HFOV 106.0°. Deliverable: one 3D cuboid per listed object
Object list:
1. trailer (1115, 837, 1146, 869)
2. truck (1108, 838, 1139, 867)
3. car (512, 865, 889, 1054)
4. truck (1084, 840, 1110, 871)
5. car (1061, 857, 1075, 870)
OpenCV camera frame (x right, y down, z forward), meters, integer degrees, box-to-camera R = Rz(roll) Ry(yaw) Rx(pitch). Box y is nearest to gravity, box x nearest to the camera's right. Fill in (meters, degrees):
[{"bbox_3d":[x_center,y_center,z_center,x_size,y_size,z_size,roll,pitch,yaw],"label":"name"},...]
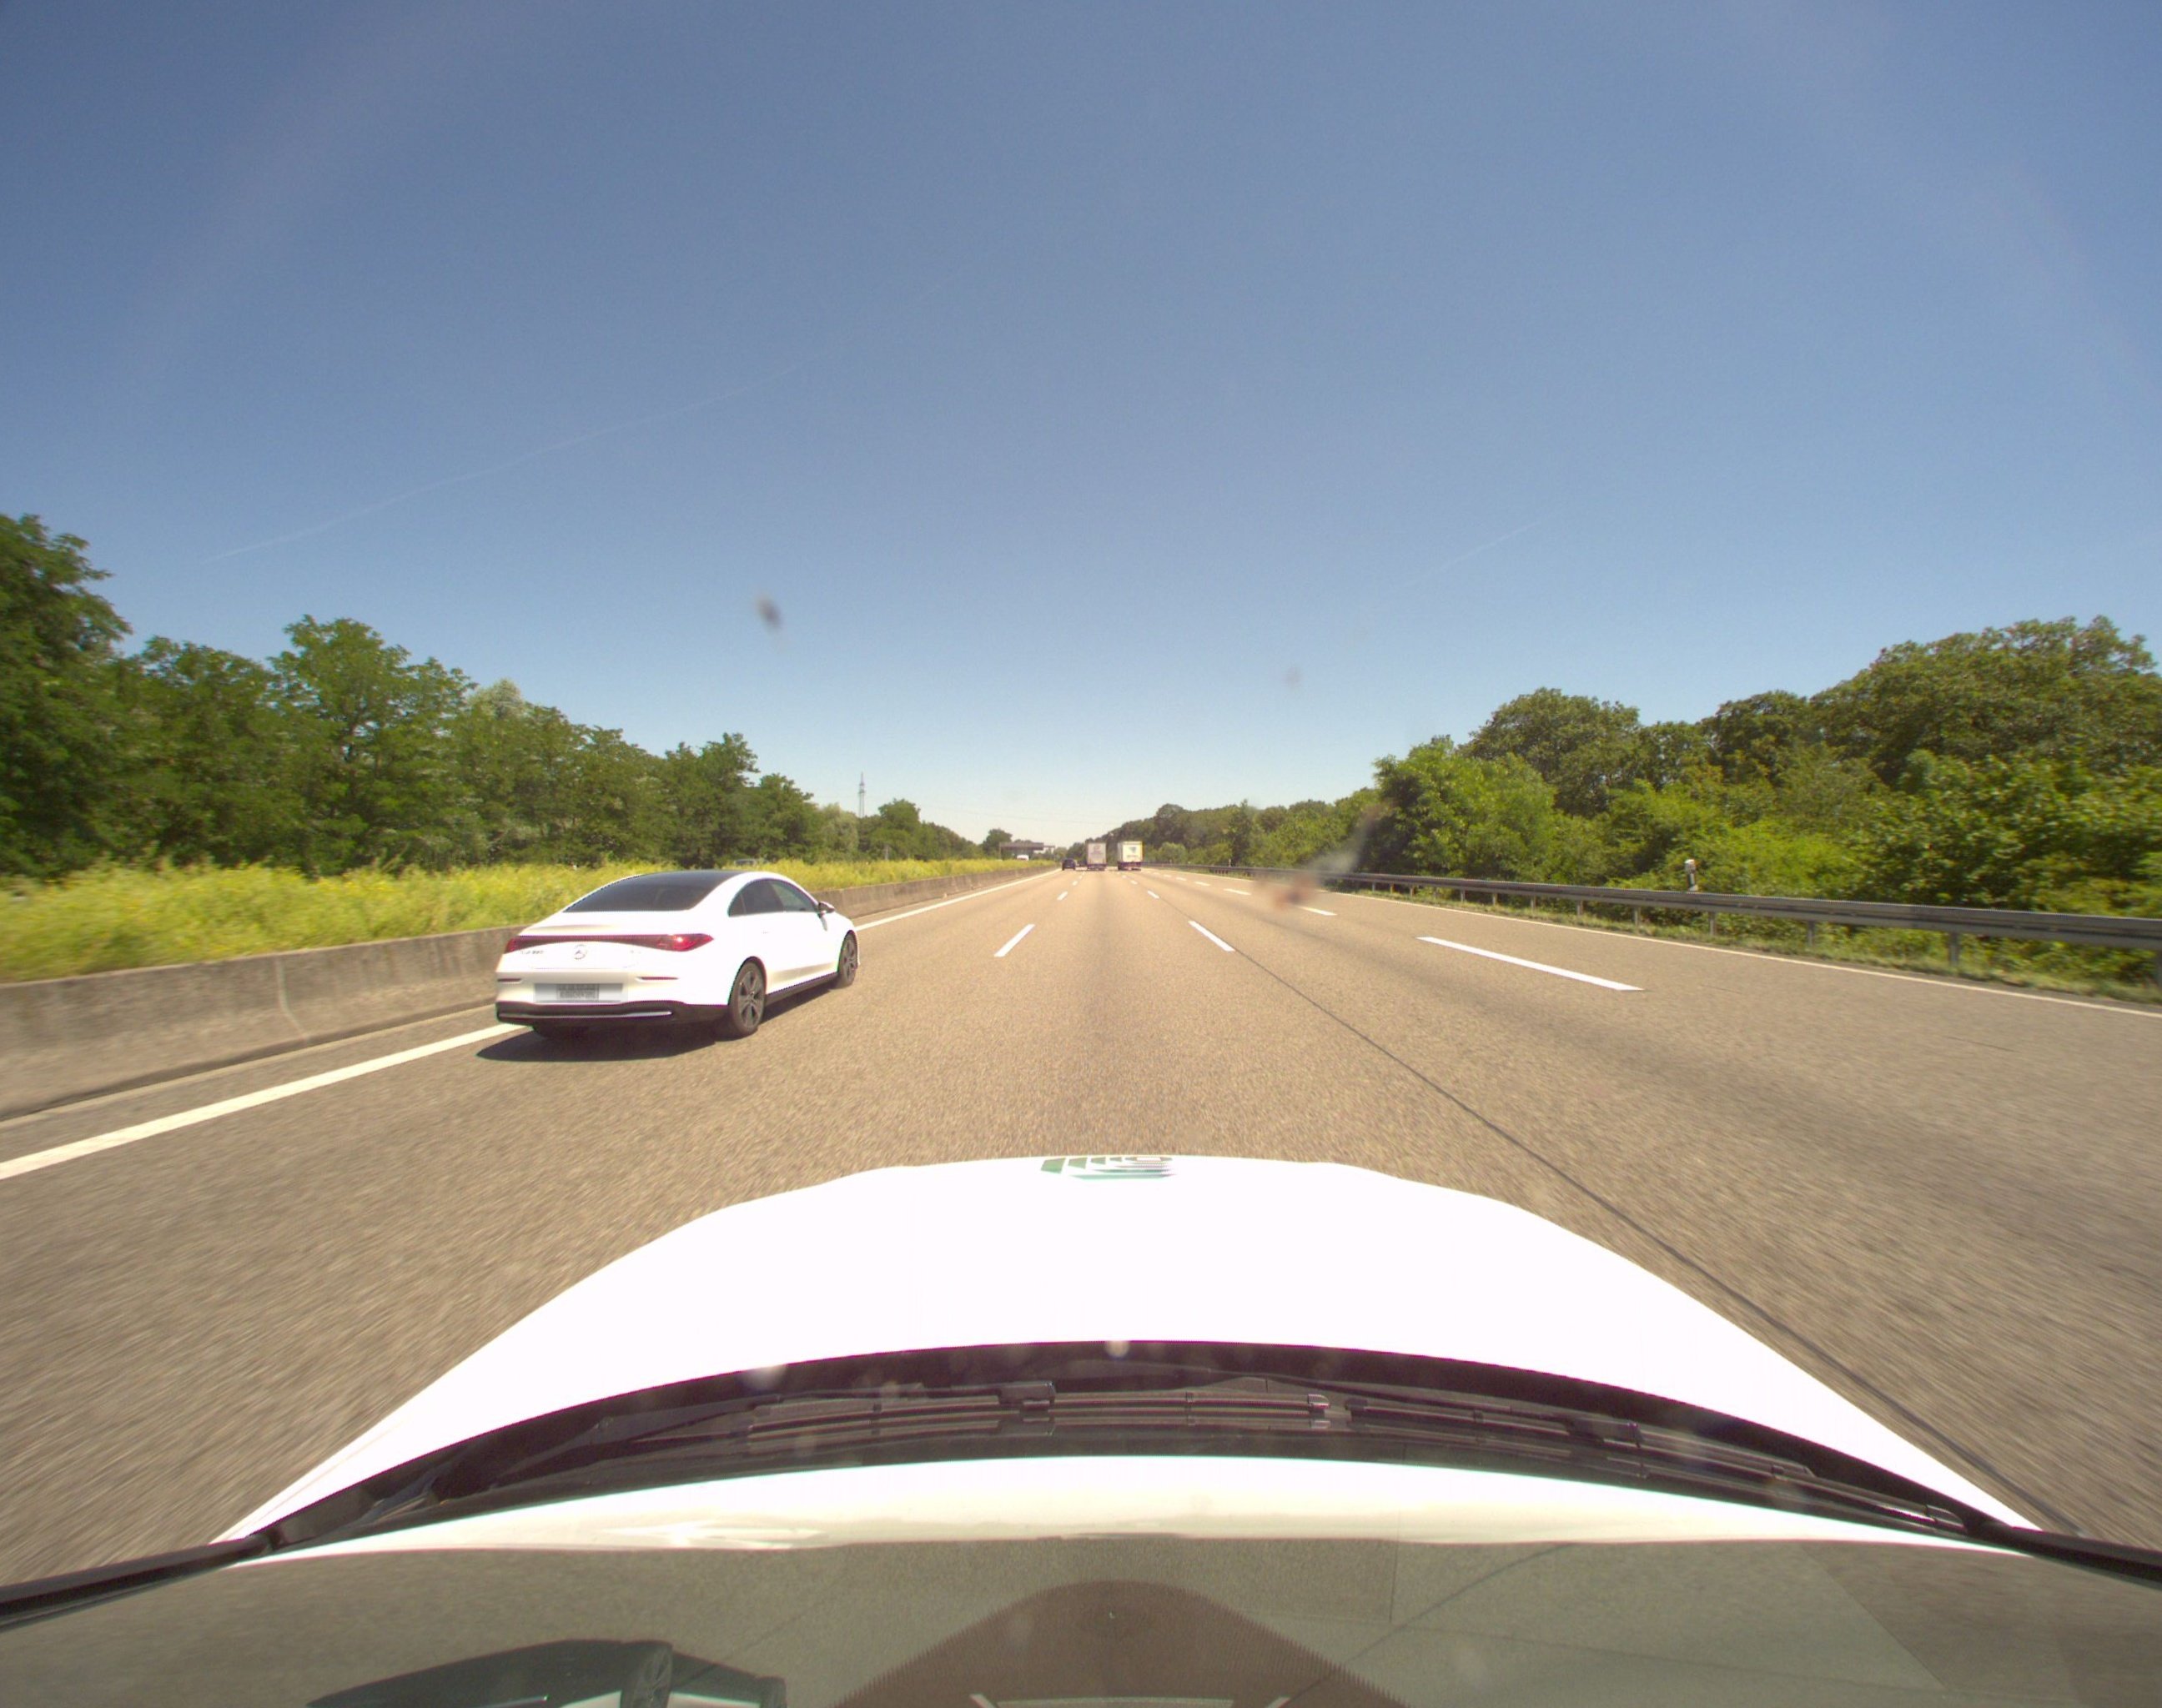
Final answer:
[{"bbox_3d":[6.623,-0.194,110.470,3.359,4.142,9.084,0,0,-2],"label":"trailer"},{"bbox_3d":[6.160,-0.200,119.517,3.318,4.053,10.941,0,0,-3],"label":"truck"},{"bbox_3d":[-3.733,0.902,9.246,1.761,1.448,5.108,-3,-1,1],"label":"car"},{"bbox_3d":[2.119,0.153,113.409,3.220,4.202,8.461,0,0,-1],"label":"truck"},{"bbox_3d":[-1.942,1.346,120.659,1.988,1.874,3.997,0,0,-2],"label":"car"}]
